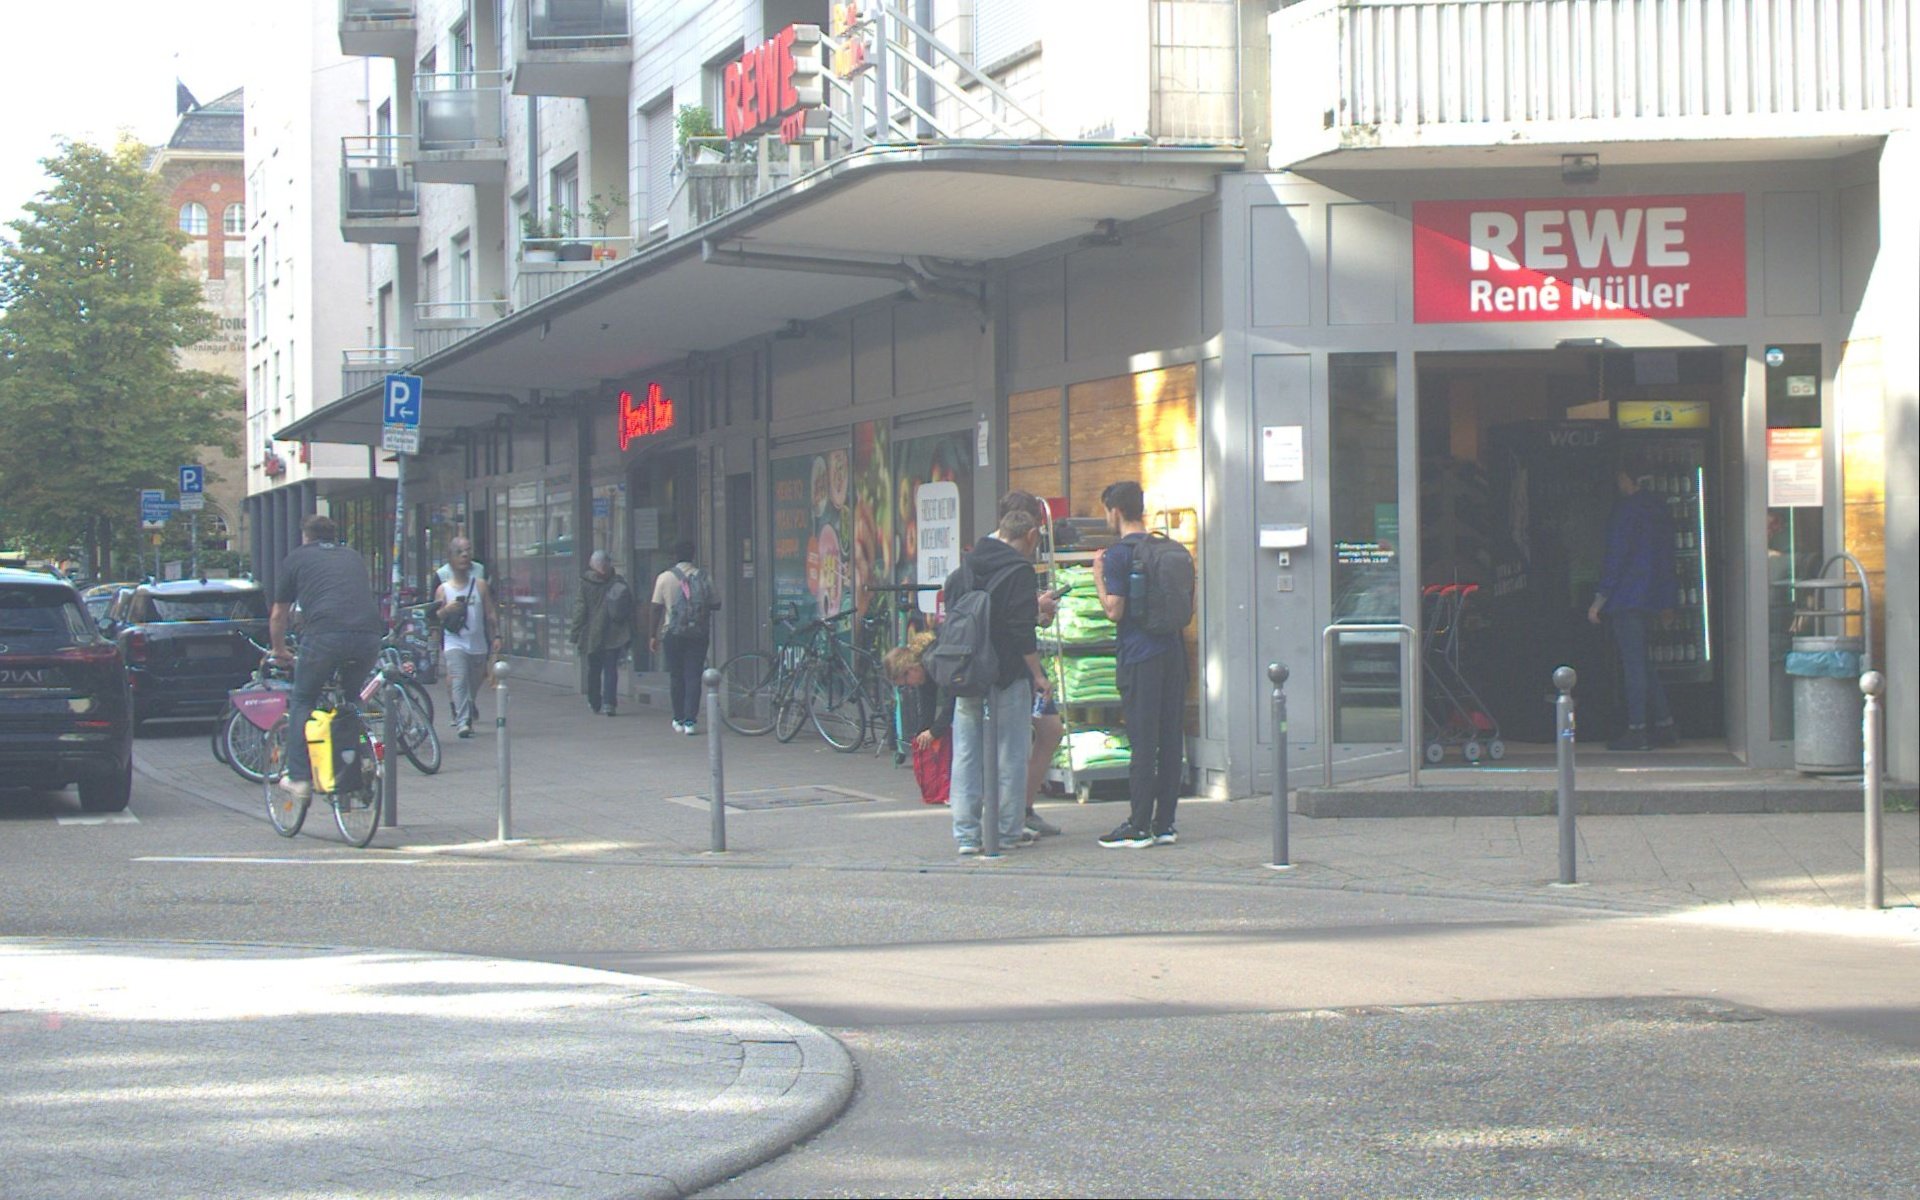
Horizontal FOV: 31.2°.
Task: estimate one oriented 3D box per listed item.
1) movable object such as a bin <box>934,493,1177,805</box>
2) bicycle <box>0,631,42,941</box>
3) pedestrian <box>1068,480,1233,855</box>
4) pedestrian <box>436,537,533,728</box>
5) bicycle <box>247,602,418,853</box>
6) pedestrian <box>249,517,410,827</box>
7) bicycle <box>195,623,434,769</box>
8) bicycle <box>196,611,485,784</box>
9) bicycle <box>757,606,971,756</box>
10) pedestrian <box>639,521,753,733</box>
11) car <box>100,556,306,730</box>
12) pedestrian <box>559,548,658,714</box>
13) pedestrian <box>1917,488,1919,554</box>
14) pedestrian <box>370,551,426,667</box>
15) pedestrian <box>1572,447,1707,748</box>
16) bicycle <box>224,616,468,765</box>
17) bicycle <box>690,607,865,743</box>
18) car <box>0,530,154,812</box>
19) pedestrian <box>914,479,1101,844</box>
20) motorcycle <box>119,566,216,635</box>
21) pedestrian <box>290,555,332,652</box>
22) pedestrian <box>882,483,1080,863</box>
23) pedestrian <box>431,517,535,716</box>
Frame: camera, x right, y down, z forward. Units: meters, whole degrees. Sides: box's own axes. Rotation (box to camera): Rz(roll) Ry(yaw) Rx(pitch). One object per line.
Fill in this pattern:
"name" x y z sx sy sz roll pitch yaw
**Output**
"movable object such as a bin" 0.533 0.264 20.472 0.779 1.738 2.424 -1 1 -15
"bicycle" -4.660 0.722 13.469 1.971 1.195 0.693 0 -2 -8
"pedestrian" 0.940 0.318 17.080 0.653 1.791 0.659 -3 2 -3
"pedestrian" -4.242 0.284 30.622 0.801 1.665 1.023 -1 0 -10
"bicycle" -3.531 0.679 19.239 0.718 1.270 1.884 -3 2 -15
"pedestrian" -3.521 0.382 19.154 0.718 1.644 0.930 -3 1 -15
"bicycle" -5.269 0.770 28.087 1.787 1.067 0.587 -3 2 -26
"bicycle" -4.570 0.703 25.370 1.882 1.121 0.908 -4 2 -24
"bicycle" -0.716 0.580 24.989 0.676 1.039 1.733 -1 0 -36
"pedestrian" -2.256 0.218 29.299 0.713 1.741 0.817 -3 2 -18
"car" -7.908 0.393 35.682 1.792 1.600 3.925 -3 2 -15
"pedestrian" -3.432 0.293 33.509 0.823 1.583 0.781 -1 0 -14
"pedestrian" 4.371 0.402 13.946 0.850 1.741 1.048 -2 2 14
"pedestrian" -7.849 0.116 48.004 0.643 1.583 0.781 -2 1 -14
"pedestrian" 4.041 -0.021 20.489 0.763 1.747 0.930 0 1 11
"bicycle" -4.906 0.712 27.495 1.787 1.067 0.569 -3 2 -26
"bicycle" -1.481 0.583 27.549 0.741 1.011 1.783 -3 1 -25
"car" -6.506 0.439 23.041 1.964 1.735 4.042 0 0 -16
"pedestrian" 0.250 0.304 17.497 0.713 1.791 0.632 -2 3 17
"motorcycle" -18.743 0.009 81.340 2.150 1.525 0.686 -3 2 -11
"pedestrian" -11.684 0.051 61.893 0.611 1.720 1.127 -1 1 -15
"pedestrian" 0.109 0.347 16.786 0.631 1.791 0.714 -2 3 25
"pedestrian" -4.542 0.148 32.694 0.884 1.828 1.047 -3 1 -8
